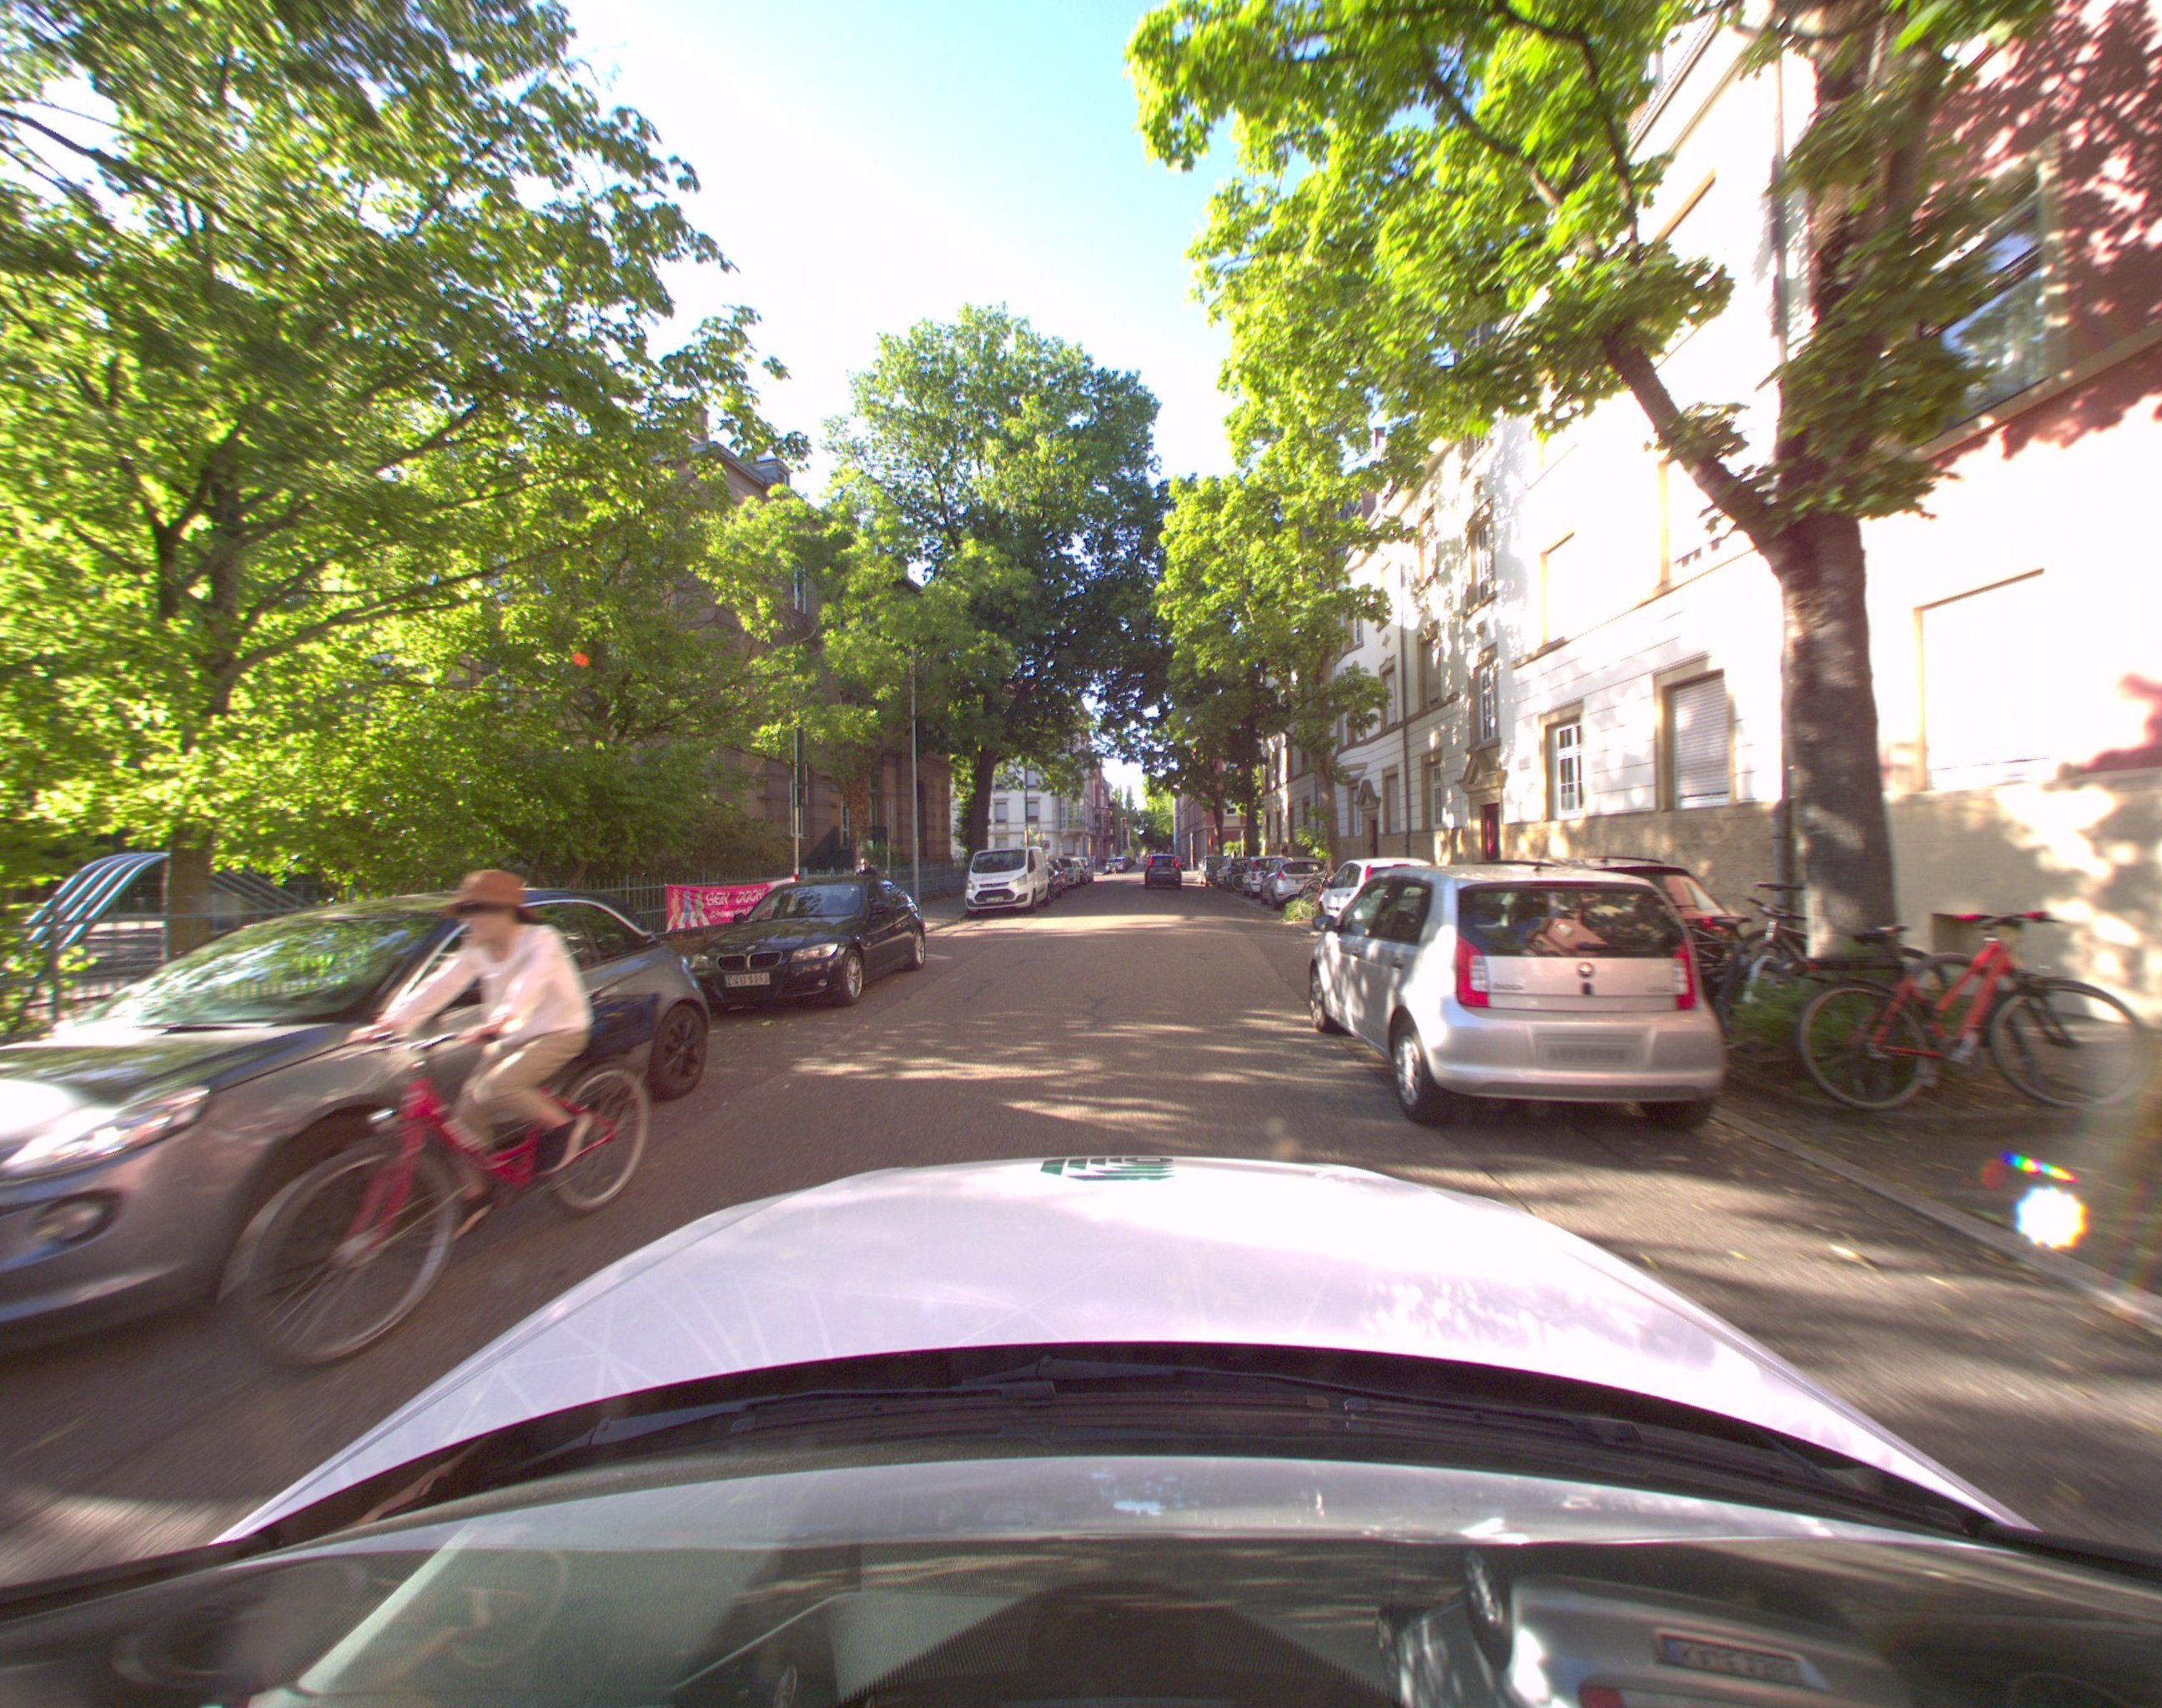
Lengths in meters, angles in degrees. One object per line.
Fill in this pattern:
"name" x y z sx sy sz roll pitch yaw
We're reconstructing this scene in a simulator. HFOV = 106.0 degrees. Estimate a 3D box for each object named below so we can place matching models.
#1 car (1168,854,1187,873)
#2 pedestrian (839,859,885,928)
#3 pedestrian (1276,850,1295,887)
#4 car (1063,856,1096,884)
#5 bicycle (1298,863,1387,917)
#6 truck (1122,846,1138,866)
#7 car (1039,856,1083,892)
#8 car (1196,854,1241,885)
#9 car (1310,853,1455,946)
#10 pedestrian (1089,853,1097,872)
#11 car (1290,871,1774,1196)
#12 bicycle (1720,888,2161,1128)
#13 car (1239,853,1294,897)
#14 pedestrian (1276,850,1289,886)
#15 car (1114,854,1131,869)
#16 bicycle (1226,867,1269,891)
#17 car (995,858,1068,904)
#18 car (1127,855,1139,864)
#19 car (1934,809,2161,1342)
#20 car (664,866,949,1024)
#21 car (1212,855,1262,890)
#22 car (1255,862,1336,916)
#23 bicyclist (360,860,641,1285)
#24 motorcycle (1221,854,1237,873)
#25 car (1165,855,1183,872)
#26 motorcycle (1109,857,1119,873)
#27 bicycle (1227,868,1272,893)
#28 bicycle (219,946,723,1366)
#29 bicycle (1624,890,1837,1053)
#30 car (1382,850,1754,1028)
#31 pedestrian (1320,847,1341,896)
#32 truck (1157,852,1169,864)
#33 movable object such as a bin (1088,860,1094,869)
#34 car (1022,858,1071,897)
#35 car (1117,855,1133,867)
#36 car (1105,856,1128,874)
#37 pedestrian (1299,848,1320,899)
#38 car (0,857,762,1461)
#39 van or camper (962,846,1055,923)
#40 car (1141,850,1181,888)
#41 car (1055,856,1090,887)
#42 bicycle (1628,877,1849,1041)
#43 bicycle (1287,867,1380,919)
"car" 8.800 0.886 74.500 1.655 1.669 3.763 0 0 6
"pedestrian" -5.131 0.920 19.112 0.877 1.577 0.530 -1 -1 5
"pedestrian" 9.696 0.676 38.628 0.773 1.694 0.876 -1 0 7
"car" -0.064 0.983 50.805 1.689 1.550 3.923 -4 0 4
"bicycle" 6.533 0.906 20.444 1.959 1.229 0.761 -3 -1 5
"truck" 7.788 0.324 129.868 2.060 2.926 5.075 -5 -1 5
"car" -0.955 0.962 40.817 1.818 1.554 4.136 -5 0 2
"car" 7.344 0.786 43.865 1.782 1.551 4.412 -1 0 2
"car" 5.527 0.764 15.400 1.589 1.488 3.753 -2 0 5
"pedestrian" 1.212 0.837 81.162 0.717 1.839 0.629 0 0 15
"car" 2.753 0.939 6.015 1.671 1.544 3.804 0 0 4
"bicycle" 4.821 0.844 4.645 1.803 1.167 0.570 -3 -1 3
"car" 6.808 0.749 30.199 1.513 1.511 3.548 -1 0 5
"pedestrian" 9.780 0.679 39.557 0.487 1.705 0.758 0 0 4
"car" 5.029 0.865 98.891 1.766 1.698 3.931 -5 0 6
"bicycle" 7.140 1.071 34.937 1.707 0.949 0.734 -2 0 4
"car" -1.762 0.964 30.603 1.991 1.457 4.612 -3 0 5
"car" 9.268 0.994 145.081 1.952 1.479 3.931 -5 0 6
"car" 4.297 0.689 0.808 1.877 1.716 4.948 -2 0 3
"car" -3.158 0.956 10.579 1.706 1.395 4.784 -5 0 4
"car" 7.267 0.828 38.269 1.605 1.478 3.870 -1 0 0
"car" 6.300 0.966 24.277 1.614 1.394 4.163 -2 0 5
"bicyclist" -2.264 0.781 3.244 0.648 1.509 0.626 -1 0 6
"motorcycle" 11.928 0.787 65.712 1.012 1.404 2.202 -1 2 17
"car" 9.009 0.907 78.996 1.655 1.505 3.763 0 0 6
"motorcycle" 2.987 0.998 74.080 0.695 1.460 1.748 -2 0 -5
"bicycle" 6.975 1.095 33.721 1.761 1.039 0.607 0 0 4
"bicycle" -2.252 1.013 3.339 0.661 1.077 1.688 -1 0 7
"bicycle" 4.579 0.822 5.771 1.195 1.075 0.298 -2 -1 3
"car" 4.979 0.732 9.194 1.778 1.514 4.464 0 0 4
"pedestrian" 8.670 0.598 28.310 0.592 1.701 0.690 -1 0 6
"truck" 14.328 0.654 143.148 1.984 1.992 4.005 -1 0 5
"movable object such as a bin" 1.048 1.112 85.451 0.510 0.952 0.501 -1 0 2
"car" -1.451 0.985 35.502 1.594 1.460 4.032 -4 0 4
"car" 6.285 0.979 115.809 1.952 1.479 3.931 -5 0 6
"car" 3.400 1.019 77.360 1.788 1.432 3.931 -5 0 6
"pedestrian" 7.941 0.666 28.373 0.517 1.735 0.879 -2 0 6
"car" -3.550 0.879 4.284 1.668 1.572 4.158 -4 0 5
"van or camper" -2.080 0.863 25.088 1.913 1.979 5.467 -4 -1 4
"car" 3.509 0.638 36.209 1.626 1.550 3.267 1 1 3
"car" -0.468 0.954 45.713 1.741 1.474 4.462 -5 0 -1
"bicycle" 4.896 0.771 6.098 1.301 1.140 0.328 -2 0 4
"bicycle" 5.871 0.903 19.004 1.959 1.073 0.600 -3 -1 5
